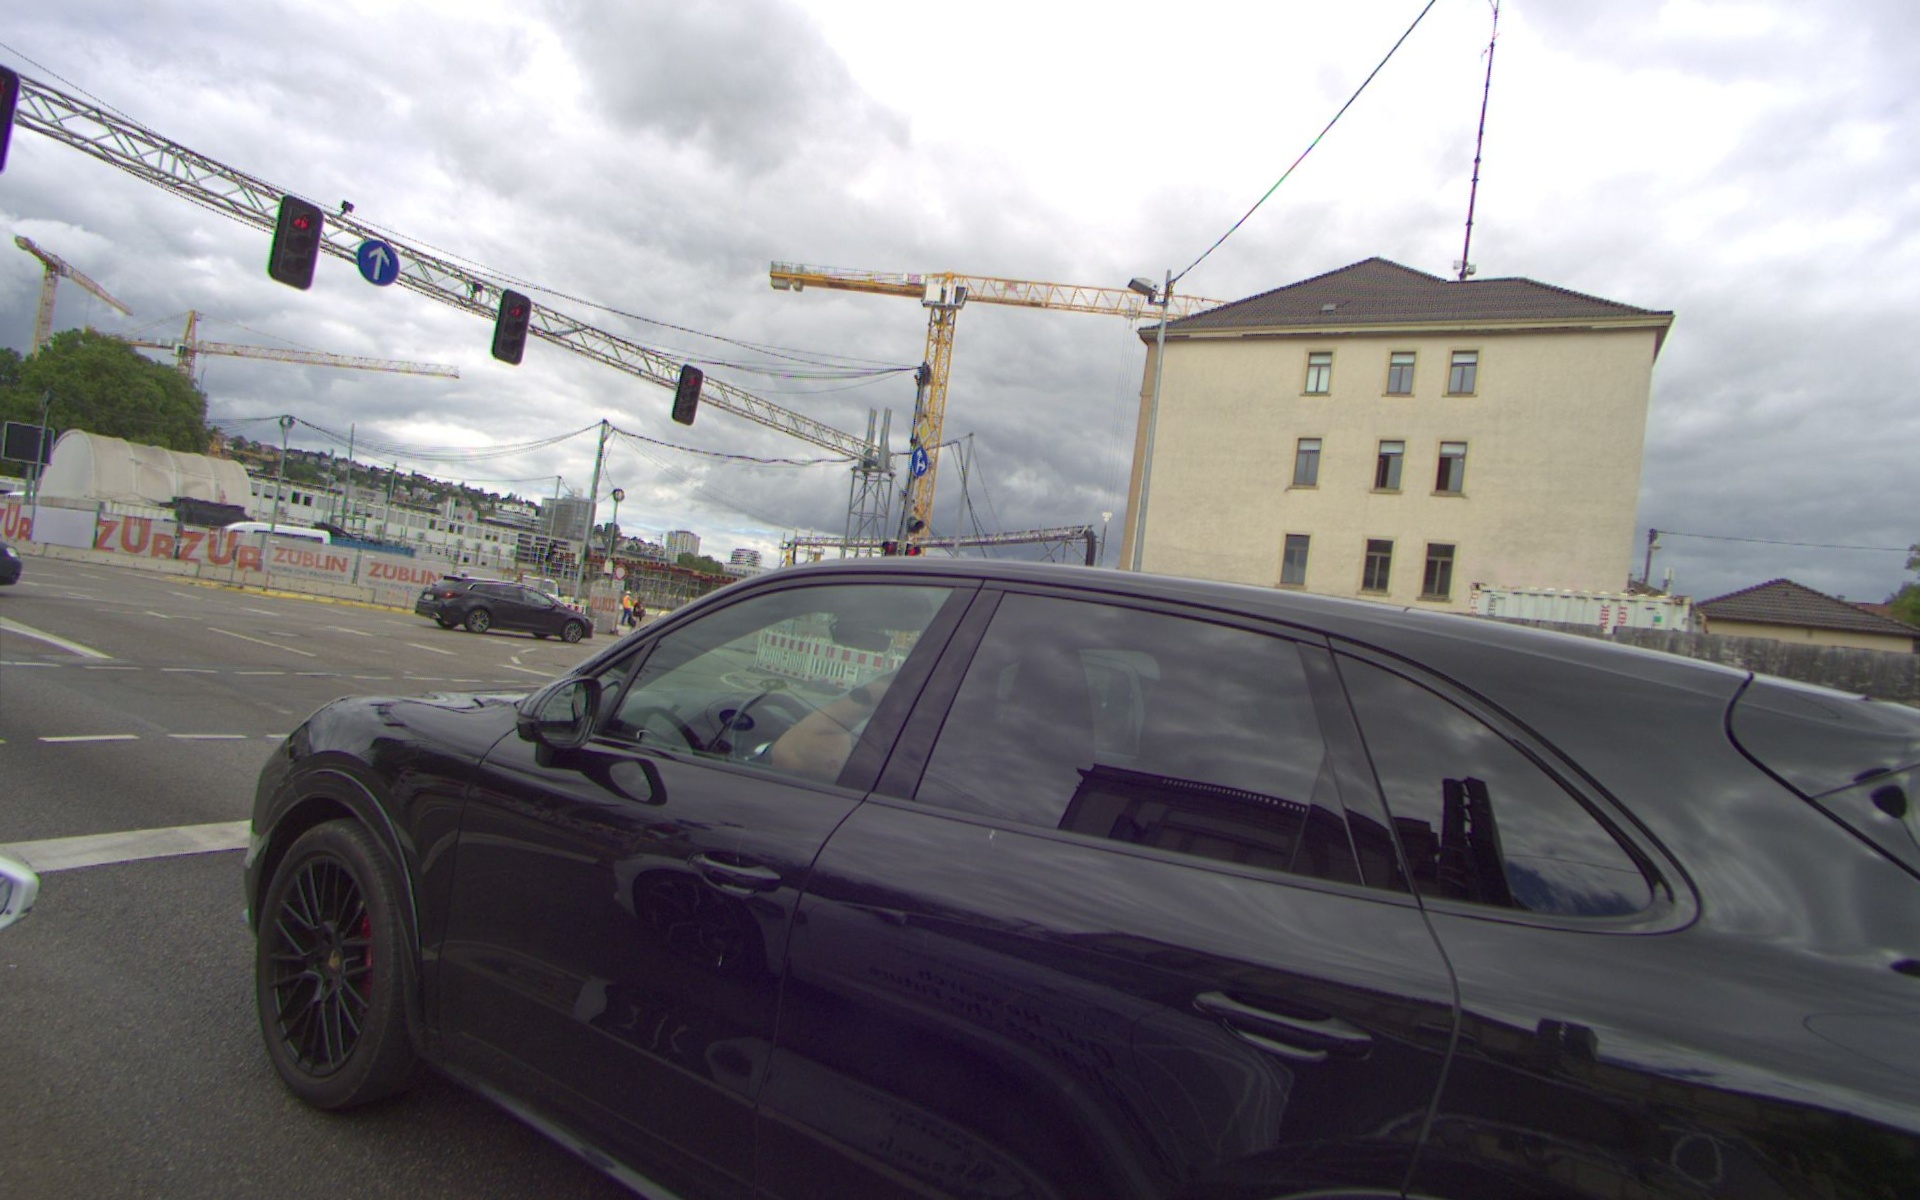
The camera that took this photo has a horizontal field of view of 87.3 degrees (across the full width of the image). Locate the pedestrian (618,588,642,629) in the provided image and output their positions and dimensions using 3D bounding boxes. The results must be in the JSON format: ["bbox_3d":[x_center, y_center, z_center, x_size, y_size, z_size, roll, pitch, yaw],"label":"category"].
[{"bbox_3d":[-17.636,0.444,53.824,0.855,2.037,0.677,6,-1,44],"label":"pedestrian"}]

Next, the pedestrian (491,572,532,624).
[{"bbox_3d":[-17.462,-0.076,39.163,1.040,1.869,0.781,8,-1,-42],"label":"pedestrian"}]

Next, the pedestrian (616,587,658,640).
[{"bbox_3d":[-13.440,0.556,41.911,1.017,2.037,1.045,6,-1,32],"label":"pedestrian"}]

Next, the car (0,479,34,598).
[{"bbox_3d":[-16.836,-1.249,14.766,1.967,1.826,4.279,6,-2,31],"label":"car"}]

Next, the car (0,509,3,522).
[{"bbox_3d":[-58.228,-4.843,57.555,1.963,1.793,4.588,10,-3,8],"label":"car"}]

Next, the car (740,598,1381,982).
[{"bbox_3d":[0.583,0.994,6.550,3.587,1.527,1.825,6,-2,33],"label":"car"}]

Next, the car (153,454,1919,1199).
[{"bbox_3d":[0.002,0.685,2.714,4.505,1.687,1.996,6,-2,34],"label":"car"}]

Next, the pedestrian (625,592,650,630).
[{"bbox_3d":[-17.542,0.594,54.786,0.850,1.938,0.680,7,-1,26],"label":"pedestrian"}]

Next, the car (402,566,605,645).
[{"bbox_3d":[-12.196,0.182,27.117,1.972,1.483,4.488,6,-3,40],"label":"car"}]

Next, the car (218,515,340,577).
[{"bbox_3d":[-29.520,-2.328,43.642,3.976,2.037,1.976,9,-2,-43],"label":"car"}]

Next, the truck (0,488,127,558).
[{"bbox_3d":[-54.434,-4.592,60.405,2.322,3.182,6.613,7,-2,9],"label":"truck"}]
